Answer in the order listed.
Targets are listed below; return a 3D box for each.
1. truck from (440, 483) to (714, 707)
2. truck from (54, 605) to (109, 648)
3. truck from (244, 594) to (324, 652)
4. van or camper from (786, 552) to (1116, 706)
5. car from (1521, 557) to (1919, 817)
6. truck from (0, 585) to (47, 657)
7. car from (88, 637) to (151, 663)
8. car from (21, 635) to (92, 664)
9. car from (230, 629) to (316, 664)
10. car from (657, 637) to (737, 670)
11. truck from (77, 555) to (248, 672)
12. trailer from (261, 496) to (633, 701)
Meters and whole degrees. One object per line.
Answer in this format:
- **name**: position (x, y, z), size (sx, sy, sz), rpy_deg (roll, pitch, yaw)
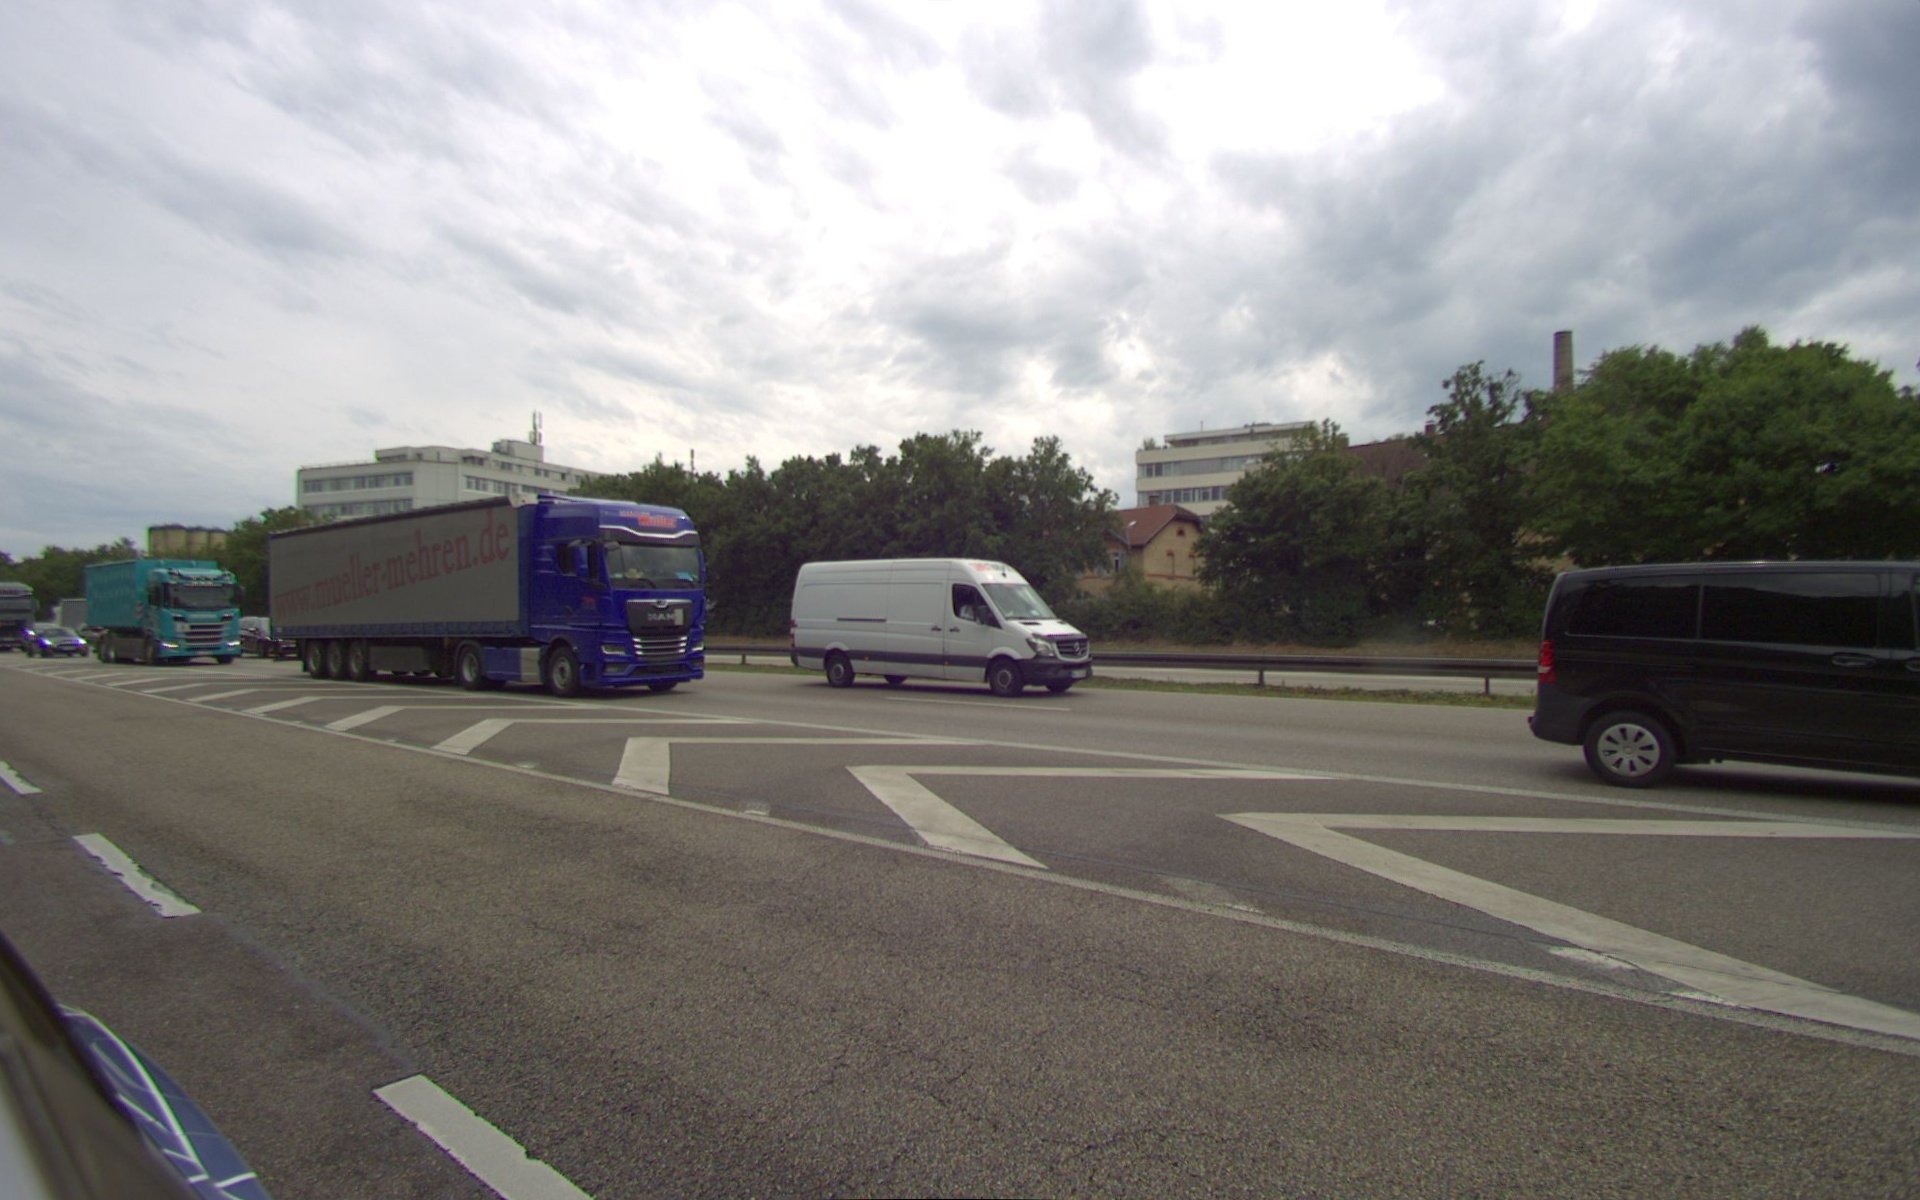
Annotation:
- **truck**: position (-8.025, -0.007, 20.928), size (5.919, 3.991, 2.643), rpy_deg (-2, -2, 38)
- **truck**: position (-80.434, 2.463, 92.620), size (7.528, 3.790, 1.977), rpy_deg (-1, -2, 34)
- **truck**: position (-47.912, 1.651, 71.611), size (8.104, 3.914, 2.325), rpy_deg (-2, -2, 39)
- **van or camper**: position (-0.409, 0.589, 20.304), size (6.948, 2.641, 2.029), rpy_deg (-2, -2, 39)
- **car**: position (7.408, 0.636, 8.105), size (4.808, 1.865, 1.973), rpy_deg (-2, -2, 40)
- **truck**: position (-57.598, 1.300, 59.574), size (13.123, 3.955, 3.288), rpy_deg (-1, -2, 37)
- **car**: position (-47.586, 2.806, 57.273), size (4.049, 1.444, 1.875), rpy_deg (-1, -2, 38)
- **car**: position (-42.795, 2.312, 47.908), size (3.992, 1.332, 1.736), rpy_deg (-1, -2, 36)
- **car**: position (-29.428, 1.964, 43.309), size (3.994, 1.444, 1.875), rpy_deg (-1, -2, 38)
- **car**: position (-11.759, 2.358, 45.252), size (3.544, 1.401, 1.646), rpy_deg (-1, -2, 38)
- **truck**: position (-30.959, 0.578, 39.070), size (10.107, 4.031, 2.668), rpy_deg (-1, -2, 37)
- **trailer**: position (-13.313, 0.134, 25.103), size (13.900, 4.005, 2.647), rpy_deg (-2, -2, 38)
